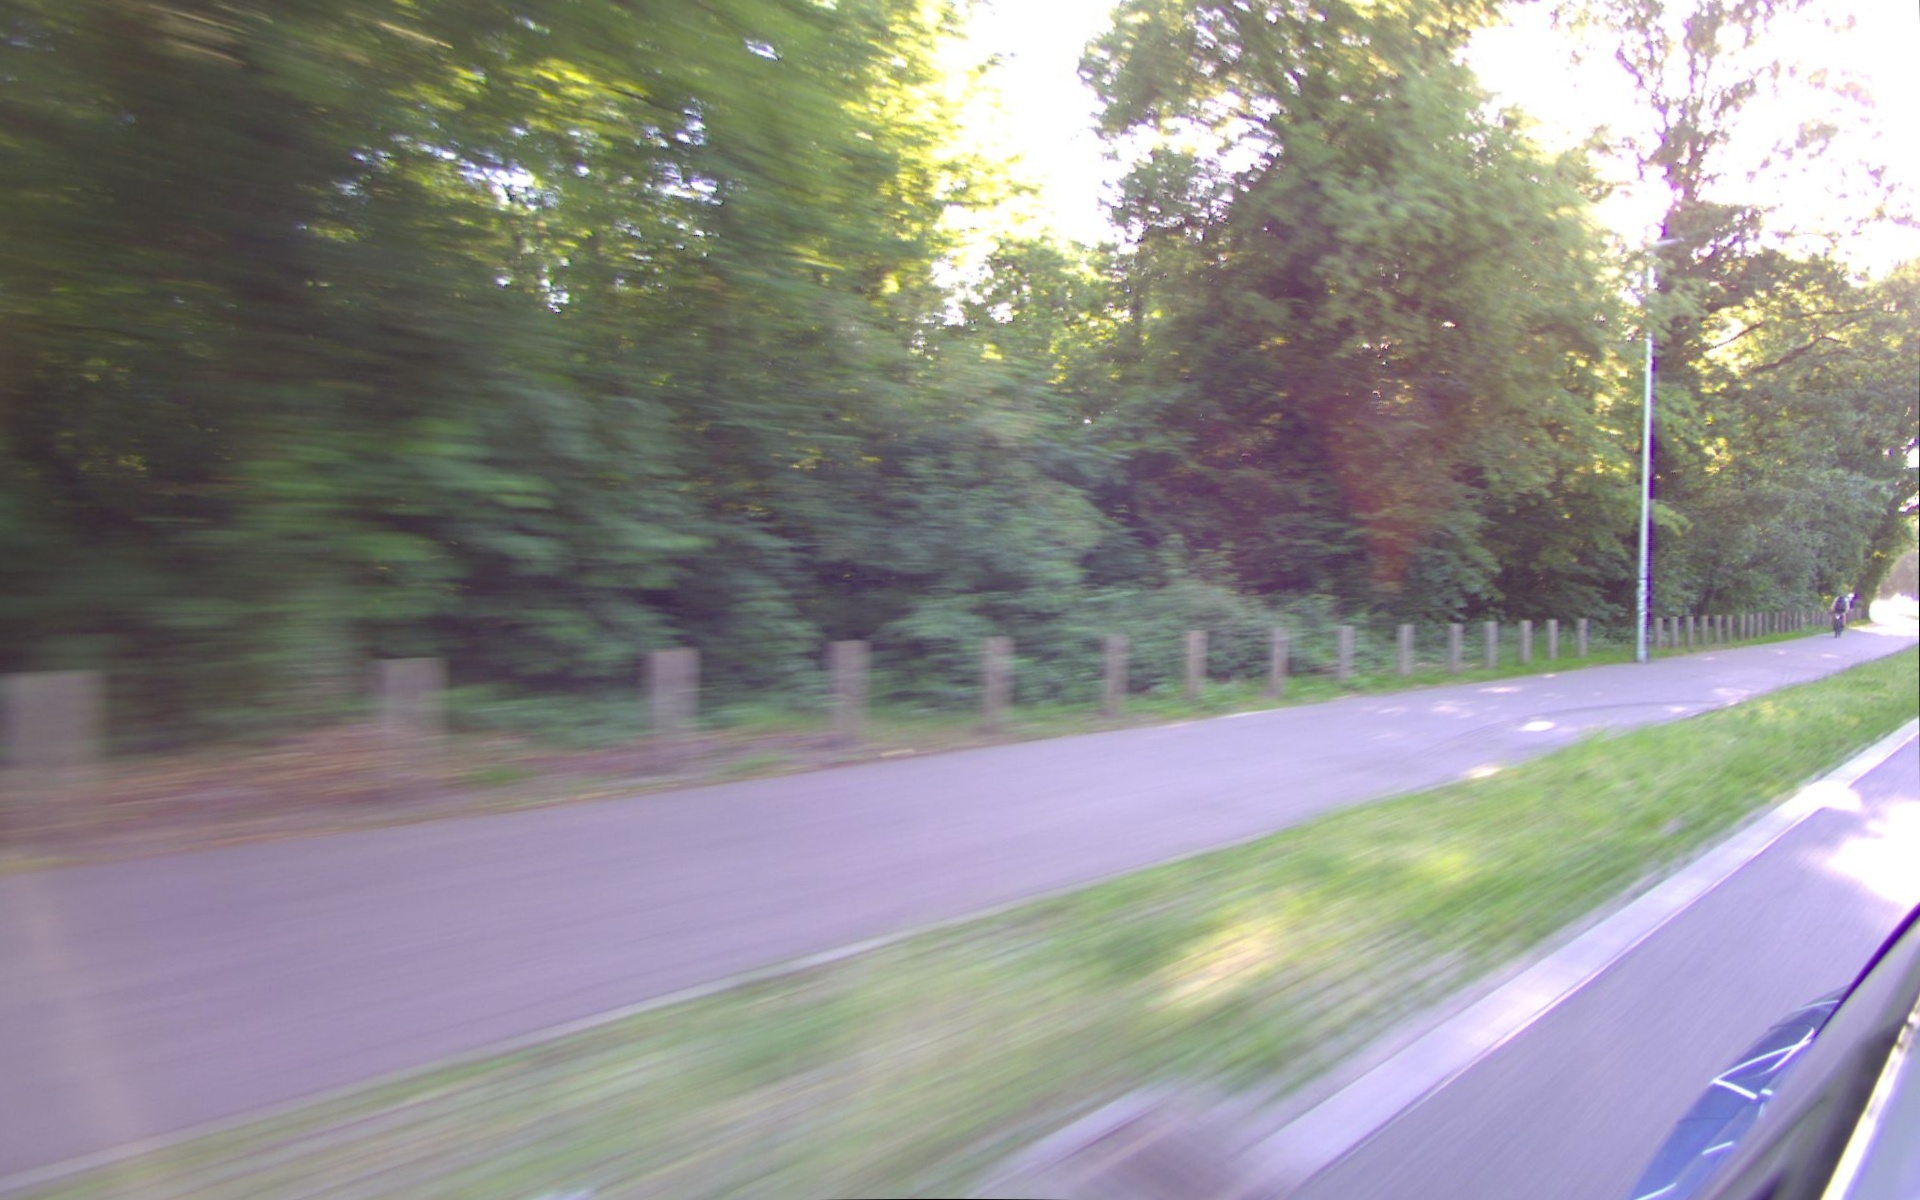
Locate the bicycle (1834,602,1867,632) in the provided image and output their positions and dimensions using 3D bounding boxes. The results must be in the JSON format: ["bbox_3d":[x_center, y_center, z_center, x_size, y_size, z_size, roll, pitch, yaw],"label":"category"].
[{"bbox_3d":[33.402,0.624,37.954,2.825,1.070,0.607,0,1,-42],"label":"bicycle"}]

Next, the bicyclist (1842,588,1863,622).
[{"bbox_3d":[33.532,0.185,38.027,0.489,1.283,0.514,0,1,-42],"label":"bicyclist"}]
